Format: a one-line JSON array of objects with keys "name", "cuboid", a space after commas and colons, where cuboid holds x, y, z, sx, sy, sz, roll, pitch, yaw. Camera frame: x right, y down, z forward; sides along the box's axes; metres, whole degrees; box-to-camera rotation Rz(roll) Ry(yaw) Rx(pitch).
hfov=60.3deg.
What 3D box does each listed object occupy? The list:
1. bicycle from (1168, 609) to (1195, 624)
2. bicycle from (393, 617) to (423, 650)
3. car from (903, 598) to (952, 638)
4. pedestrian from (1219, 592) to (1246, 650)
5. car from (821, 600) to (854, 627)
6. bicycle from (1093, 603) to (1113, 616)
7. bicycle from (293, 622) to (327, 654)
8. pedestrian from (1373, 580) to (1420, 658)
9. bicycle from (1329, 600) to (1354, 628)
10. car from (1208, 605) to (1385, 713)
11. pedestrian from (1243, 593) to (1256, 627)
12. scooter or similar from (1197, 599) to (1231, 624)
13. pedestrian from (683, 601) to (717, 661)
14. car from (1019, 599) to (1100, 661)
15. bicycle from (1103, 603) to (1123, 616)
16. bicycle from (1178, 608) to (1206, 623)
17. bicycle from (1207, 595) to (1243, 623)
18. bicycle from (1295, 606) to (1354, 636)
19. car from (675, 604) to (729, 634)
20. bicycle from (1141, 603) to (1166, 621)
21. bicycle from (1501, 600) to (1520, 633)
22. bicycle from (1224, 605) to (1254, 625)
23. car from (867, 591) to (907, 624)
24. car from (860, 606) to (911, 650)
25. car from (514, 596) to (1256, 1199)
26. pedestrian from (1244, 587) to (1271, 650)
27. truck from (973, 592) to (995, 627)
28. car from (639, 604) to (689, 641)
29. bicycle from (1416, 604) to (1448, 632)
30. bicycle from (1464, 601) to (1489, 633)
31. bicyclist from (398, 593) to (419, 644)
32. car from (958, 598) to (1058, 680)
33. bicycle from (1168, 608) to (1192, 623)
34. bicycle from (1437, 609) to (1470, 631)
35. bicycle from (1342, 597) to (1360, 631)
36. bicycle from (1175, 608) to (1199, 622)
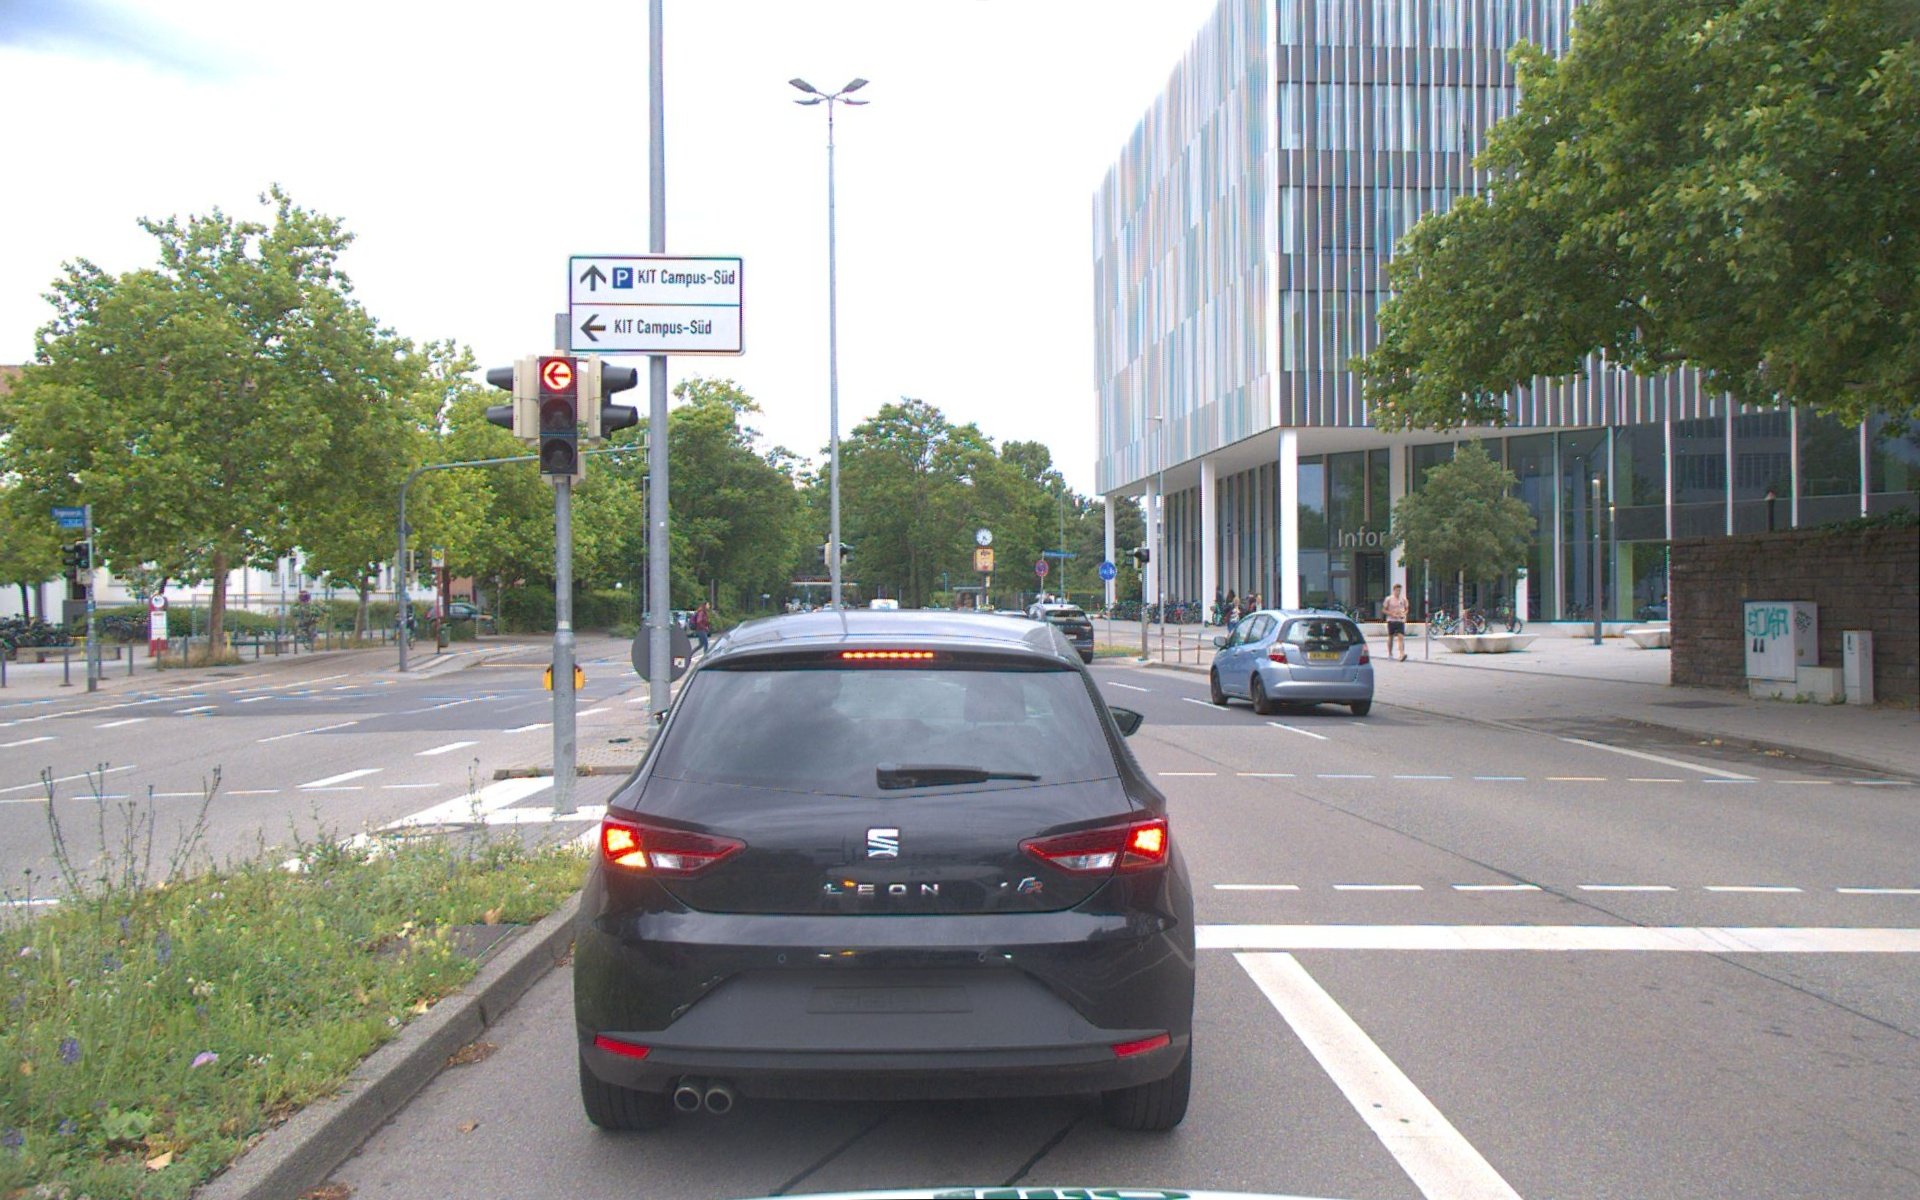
[{"name": "bicycle", "cuboid": [11.547, 0.835, 86.150, 1.345, 0.717, 0.489, -2, 0, 8]}, {"name": "bicycle", "cuboid": [-18.254, 1.105, 54.723, 0.478, 1.023, 1.589, 1, 1, -1]}, {"name": "car", "cuboid": [-1.309, 0.774, 68.509, 1.787, 1.578, 4.527, 1, -1, 1]}, {"name": "pedestrian", "cuboid": [7.950, 0.608, 48.309, 0.673, 1.668, 0.632, 1, 0, -1]}, {"name": "car", "cuboid": [-6.934, 0.732, 93.188, 1.689, 1.439, 4.240, 1, 1, -6]}, {"name": "bicycle", "cuboid": [9.414, 0.631, 109.102, 1.241, 0.863, 0.479, 2, -1, -23]}, {"name": "bicycle", "cuboid": [-23.223, 1.356, 59.153, 0.596, 1.079, 2.041, -2, 0, -7]}, {"name": "pedestrian", "cuboid": [10.284, 0.433, 39.008, 0.830, 1.795, 0.767, -2, 0, -1]}, {"name": "bicycle", "cuboid": [15.539, 0.568, 67.407, 0.607, 1.064, 1.704, -2, 1, 25]}, {"name": "car", "cuboid": [4.949, 0.824, 24.783, 1.634, 1.492, 3.656, 0, 0, -5]}, {"name": "pedestrian", "cuboid": [12.051, 0.400, 68.888, 0.462, 1.385, 0.446, -2, 0, 9]}, {"name": "scooter or similar", "cuboid": [12.070, 0.555, 78.479, 1.655, 1.126, 0.493, -2, 0, -33]}, {"name": "pedestrian", "cuboid": [-7.286, 0.866, 46.340, 0.858, 1.614, 0.542, -2, 0, -8]}, {"name": "car", "cuboid": [2.787, 0.807, 47.263, 1.869, 1.653, 4.489, 1, 0, -2]}, {"name": "bicycle", "cuboid": [9.914, 0.618, 106.997, 1.218, 0.837, 0.479, 2, -1, -23]}, {"name": "bicycle", "cuboid": [11.832, 0.807, 84.357, 1.346, 0.717, 0.416, -2, 0, 2]}, {"name": "bicycle", "cuboid": [12.478, 0.426, 77.908, 1.758, 1.232, 0.563, -2, 0, -35]}, {"name": "bicycle", "cuboid": [12.421, 0.706, 56.369, 1.860, 0.914, 0.693, -2, 0, -22]}, {"name": "car", "cuboid": [-15.125, 1.094, 97.140, 1.721, 1.615, 4.004, -2, 1, 12]}, {"name": "bicycle", "cuboid": [10.746, 0.674, 91.986, 1.357, 0.958, 0.488, -1, 0, 6]}, {"name": "bicycle", "cuboid": [19.617, 0.584, 58.962, 0.609, 1.074, 1.950, -2, 1, 19]}, {"name": "bicycle", "cuboid": [12.836, 0.686, 76.205, 1.421, 0.872, 0.361, -2, 0, -28]}, {"name": "car", "cuboid": [-4.582, 0.434, 103.675, 1.930, 2.007, 4.333, 1, 0, -10]}, {"name": "car", "cuboid": [-2.640, 0.987, 58.836, 1.746, 1.488, 3.869, 0, 0, -3]}, {"name": "car", "cuboid": [-0.127, 0.729, 5.738, 1.717, 1.457, 3.770, 1, 0, 1]}, {"name": "pedestrian", "cuboid": [8.699, 0.539, 48.368, 0.673, 1.812, 0.677, 0, 0, -1]}, {"name": "truck", "cuboid": [1.574, 0.628, 110.785, 1.291, 2.282, 3.401, -2, 0, -1]}, {"name": "car", "cuboid": [-15.364, 1.145, 86.037, 1.868, 1.747, 3.999, -2, 0, -1]}, {"name": "bicycle", "cuboid": [17.576, 0.671, 61.565, 0.682, 0.963, 1.981, -2, 1, 29]}, {"name": "bicycle", "cuboid": [18.711, 0.618, 59.873, 0.792, 1.074, 1.950, -2, 1, 19]}, {"name": "bicyclist", "cuboid": [-18.246, 0.614, 54.709, 0.481, 1.653, 0.588, 1, 1, -1]}, {"name": "car", "cuboid": [0.972, 0.797, 35.751, 1.845, 1.628, 4.445, 1, 0, -2]}, {"name": "bicycle", "cuboid": [11.581, 0.823, 87.043, 1.213, 0.717, 0.489, -2, 0, 8]}, {"name": "bicycle", "cuboid": [18.170, 0.745, 60.882, 1.515, 0.728, 0.511, -3, 1, -44]}, {"name": "bicycle", "cuboid": [15.288, 0.538, 64.611, 0.515, 1.275, 1.667, -2, 0, 17]}, {"name": "bicycle", "cuboid": [12.045, 0.791, 87.731, 1.246, 0.717, 0.485, -2, 0, 6]}]
